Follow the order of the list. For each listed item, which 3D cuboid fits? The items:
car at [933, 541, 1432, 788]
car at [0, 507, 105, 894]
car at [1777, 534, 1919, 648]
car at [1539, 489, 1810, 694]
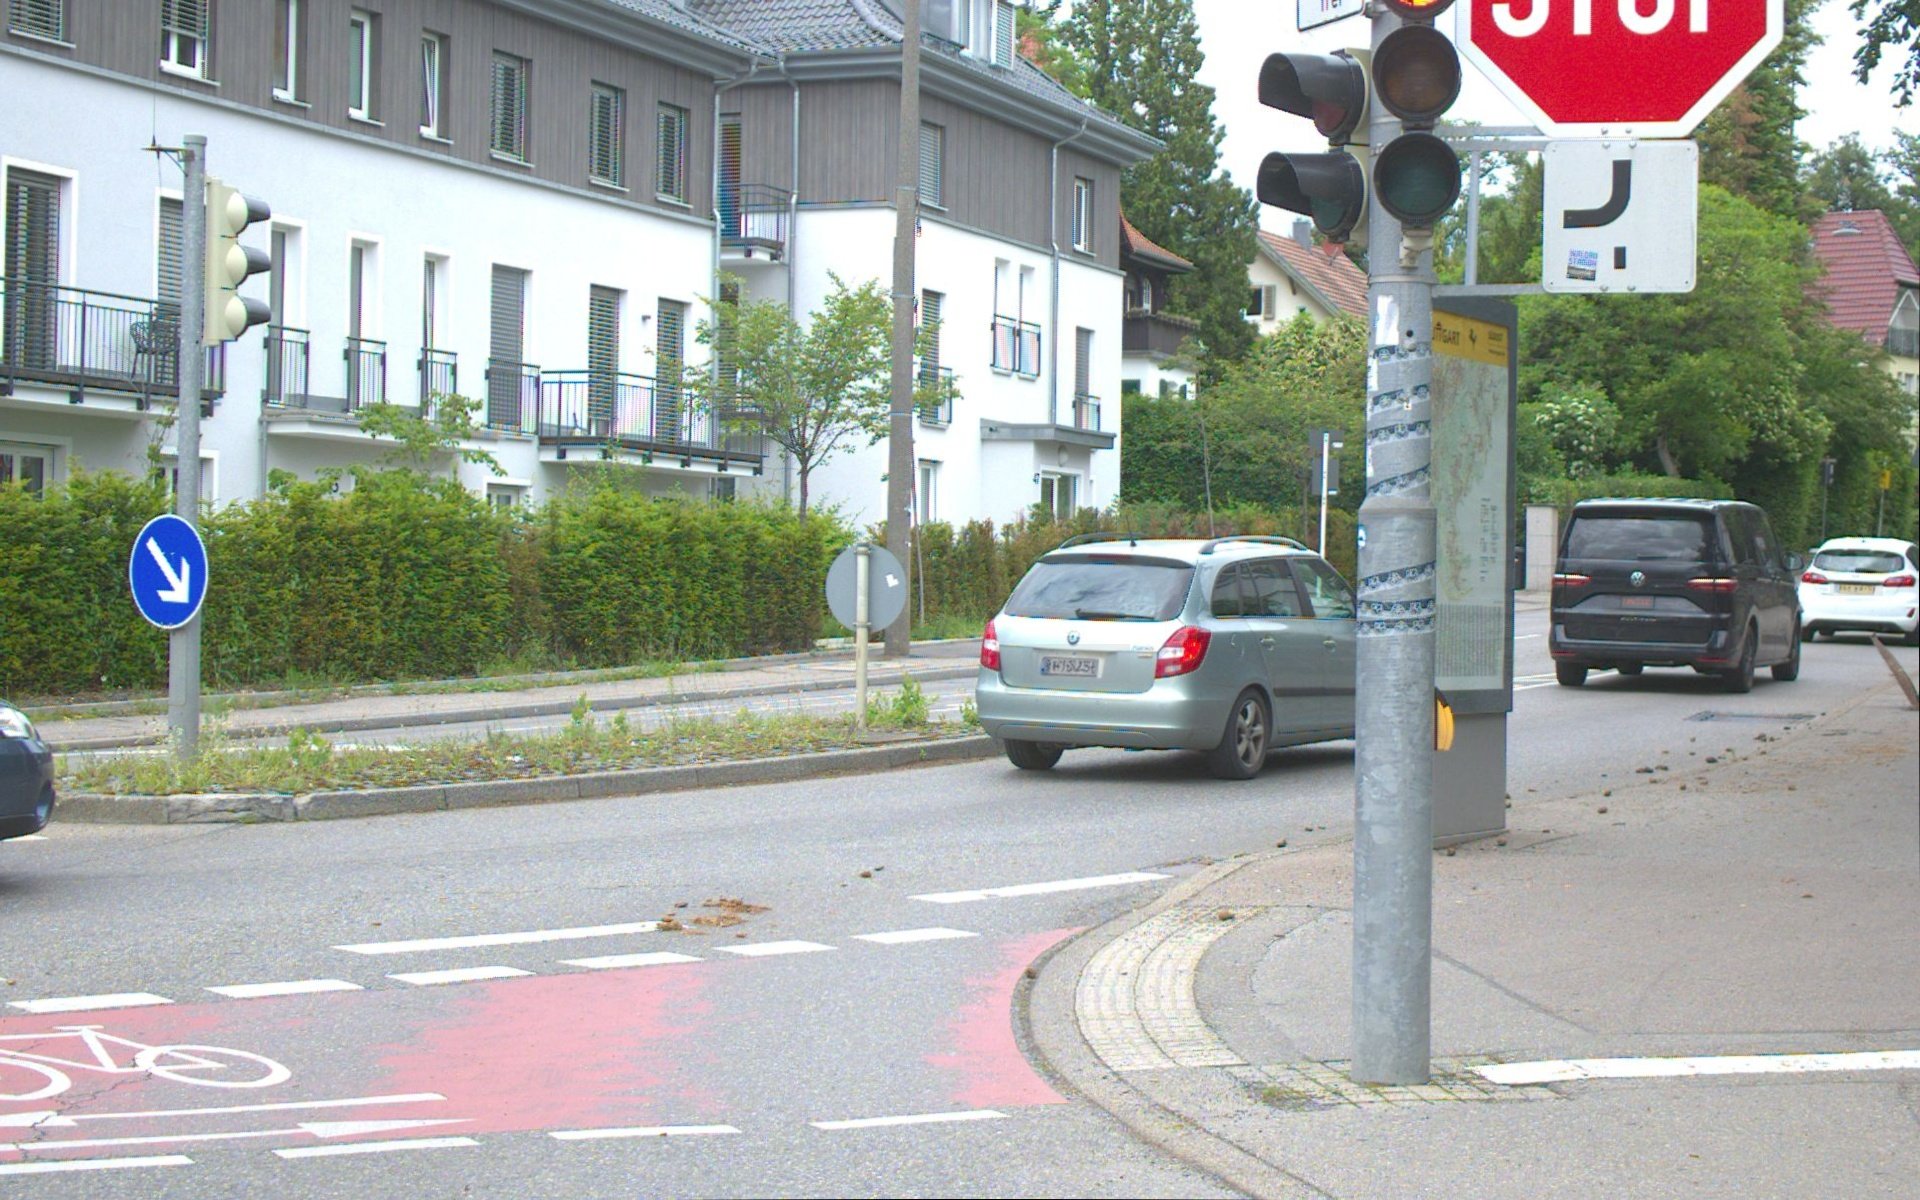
[{"bbox_3d":[1.521,0.354,22.186,1.697,1.425,3.742,0,1,31],"label":"car"},{"bbox_3d":[-5.856,0.430,13.045,4.729,1.522,1.805,-1,1,-38],"label":"car"},{"bbox_3d":[12.748,-0.168,48.209,1.843,1.454,4.073,3,2,22],"label":"car"},{"bbox_3d":[7.397,-0.139,35.221,1.921,1.887,4.903,3,2,20],"label":"car"}]
